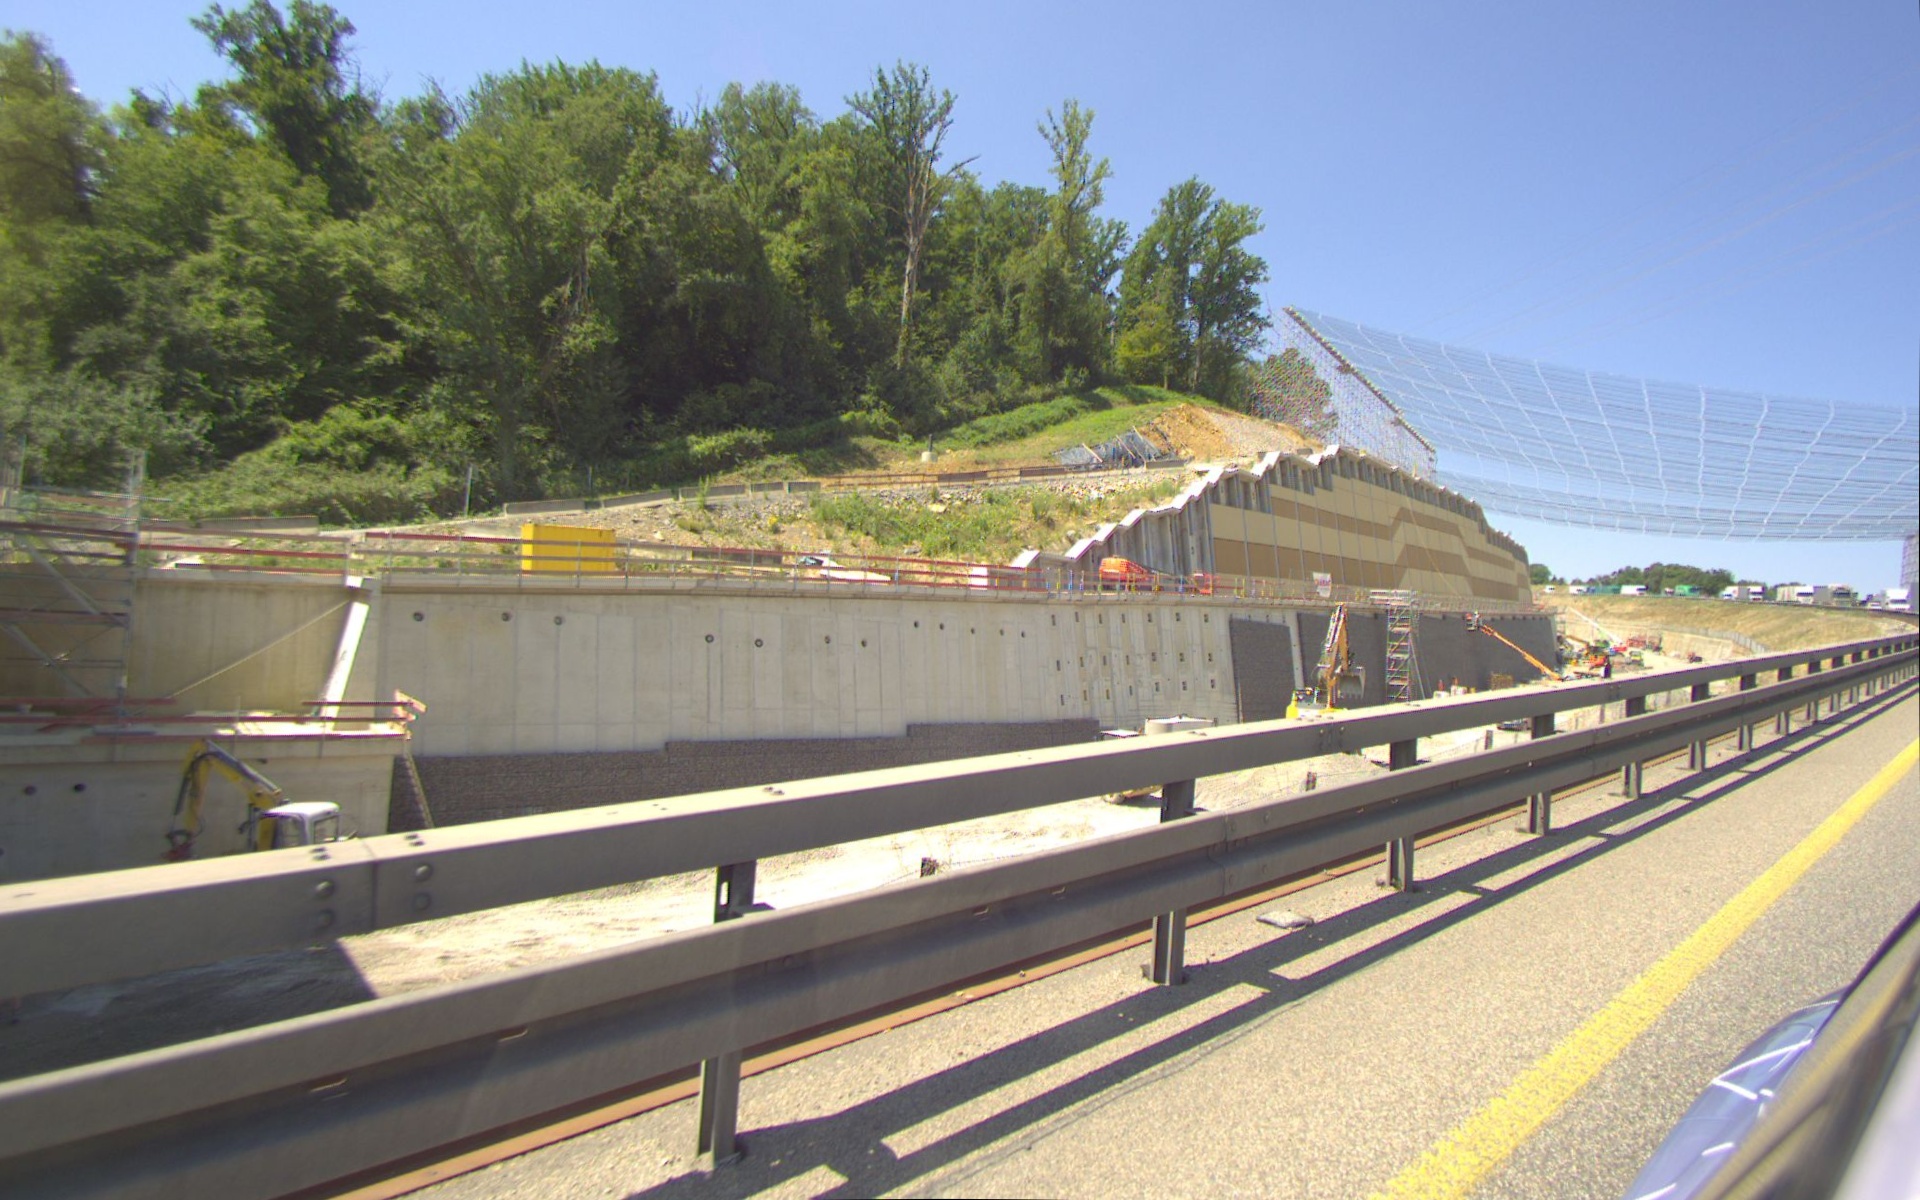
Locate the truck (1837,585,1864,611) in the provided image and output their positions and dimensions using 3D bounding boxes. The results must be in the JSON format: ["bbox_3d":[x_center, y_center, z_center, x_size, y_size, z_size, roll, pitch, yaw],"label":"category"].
[{"bbox_3d":[147.129,-0.355,167.169,3.033,4.107,8.540,0,0,43],"label":"truck"}]

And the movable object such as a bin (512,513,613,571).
[{"bbox_3d":[-14.885,-2.115,37.899,3.110,1.940,2.333,1,-1,-33],"label":"movable object such as a bin"}]

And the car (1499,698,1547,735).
[{"bbox_3d":[38.561,7.928,69.253,1.993,2.039,3.938,0,0,43],"label":"car"}]

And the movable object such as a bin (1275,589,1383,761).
[{"bbox_3d":[17.342,3.230,47.357,2.920,7.445,6.152,0,0,39],"label":"movable object such as a bin"}]

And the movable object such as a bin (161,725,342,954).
[{"bbox_3d":[-14.508,4.700,20.731,2.776,3.869,2.329,2,-1,-41],"label":"movable object such as a bin"}]

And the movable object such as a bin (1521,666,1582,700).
[{"bbox_3d":[54.453,7.618,93.344,2.176,2.669,5.505,0,0,-3],"label":"movable object such as a bin"}]

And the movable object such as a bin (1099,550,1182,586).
[{"bbox_3d":[10.790,-1.861,60.154,5.263,2.039,2.078,-1,0,-42],"label":"movable object such as a bin"}]

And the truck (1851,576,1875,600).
[{"bbox_3d":[162.869,-2.149,182.561,3.031,4.314,8.807,0,0,42],"label":"truck"}]

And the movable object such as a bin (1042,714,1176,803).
[{"bbox_3d":[5.684,6.041,39.232,2.022,2.625,5.117,1,-1,-39],"label":"movable object such as a bin"}]
